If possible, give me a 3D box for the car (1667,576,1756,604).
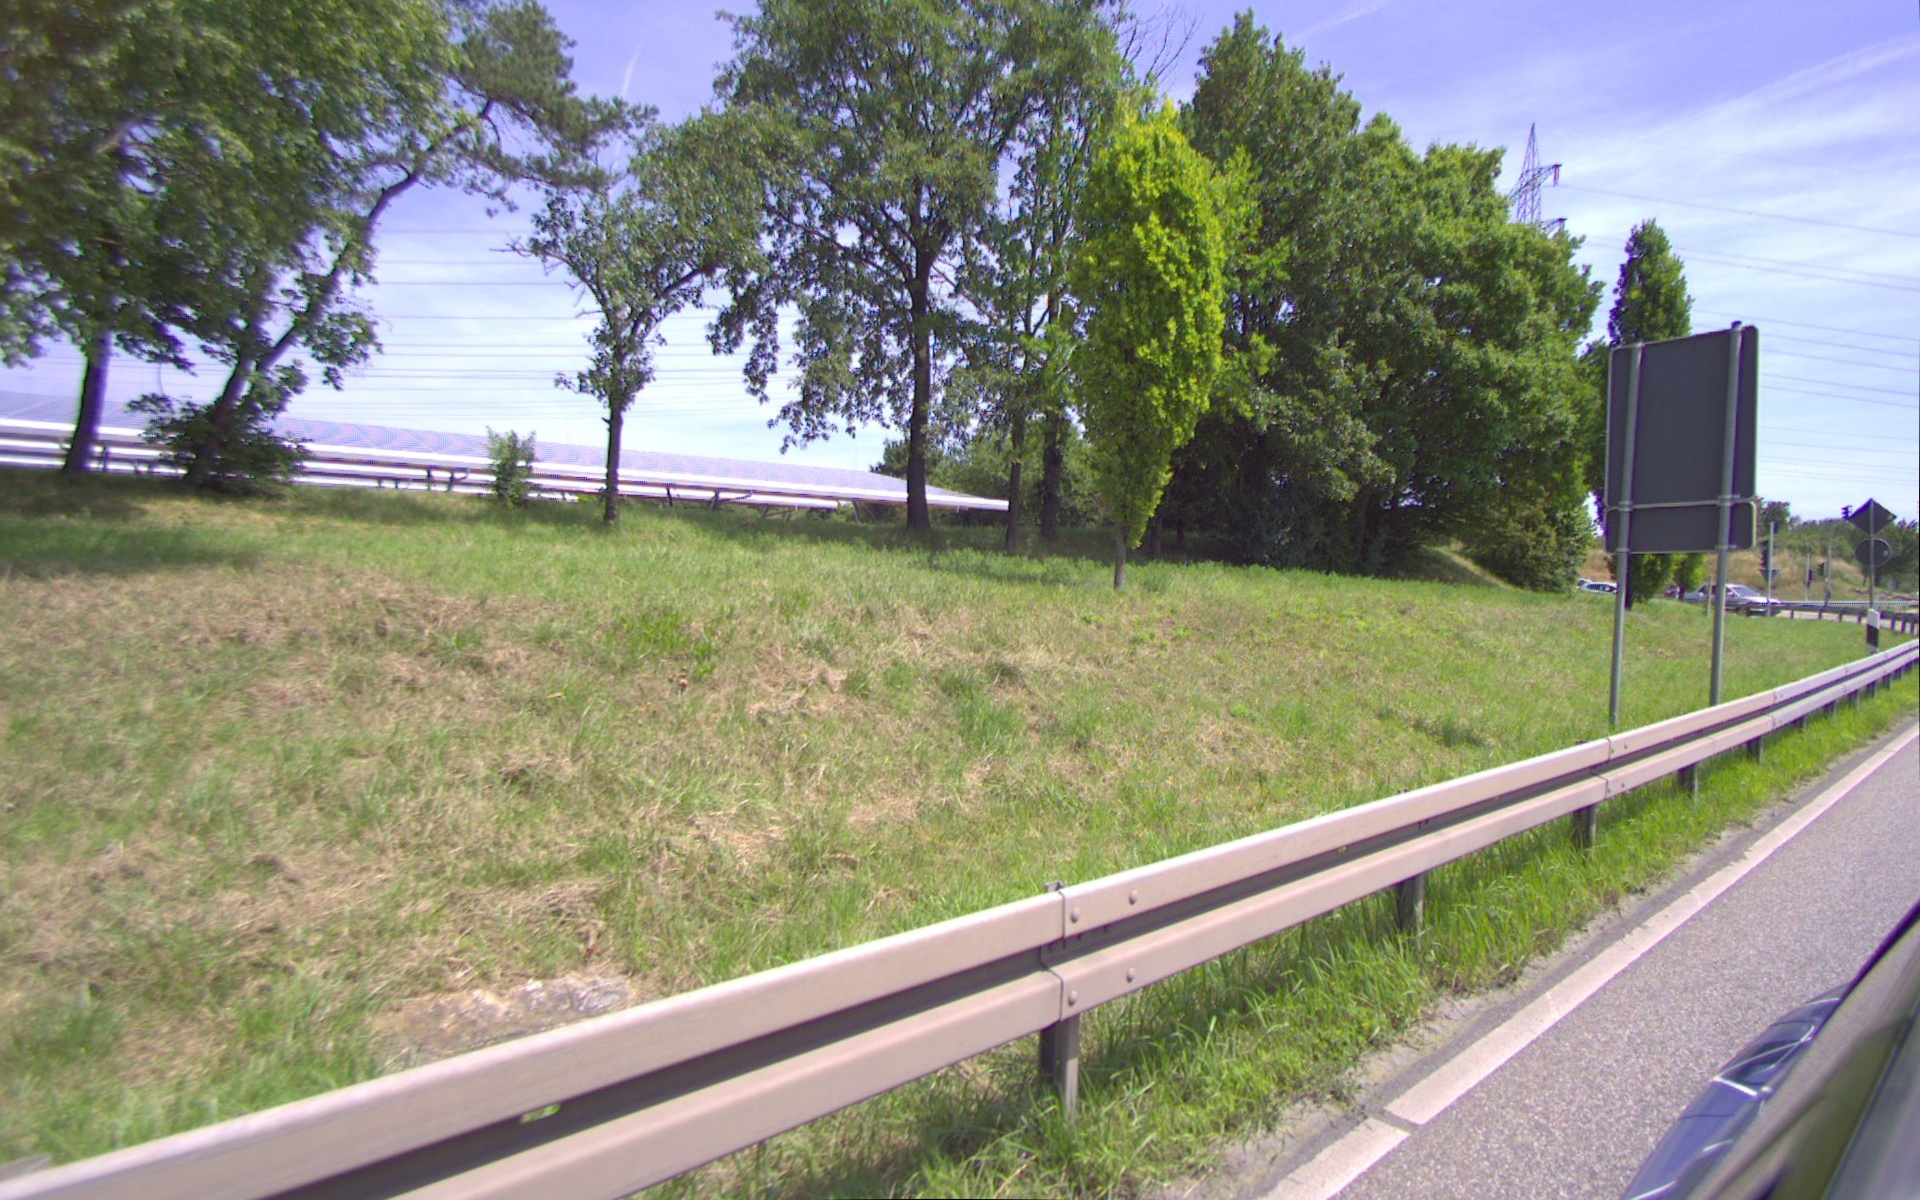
[{"bbox_3d":[47.699,-0.649,64.317,4.343,1.529,1.696,4,3,34],"label":"car"}]

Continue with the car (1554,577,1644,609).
[{"bbox_3d":[36.776,-0.433,58.311,1.745,1.619,4.007,0,3,-28],"label":"car"}]

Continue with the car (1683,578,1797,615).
[{"bbox_3d":[39.323,-0.211,51.163,1.798,1.675,4.382,1,2,-11],"label":"car"}]

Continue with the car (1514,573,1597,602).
[{"bbox_3d":[37.100,-0.811,63.168,4.333,1.612,1.762,3,2,29],"label":"car"}]
